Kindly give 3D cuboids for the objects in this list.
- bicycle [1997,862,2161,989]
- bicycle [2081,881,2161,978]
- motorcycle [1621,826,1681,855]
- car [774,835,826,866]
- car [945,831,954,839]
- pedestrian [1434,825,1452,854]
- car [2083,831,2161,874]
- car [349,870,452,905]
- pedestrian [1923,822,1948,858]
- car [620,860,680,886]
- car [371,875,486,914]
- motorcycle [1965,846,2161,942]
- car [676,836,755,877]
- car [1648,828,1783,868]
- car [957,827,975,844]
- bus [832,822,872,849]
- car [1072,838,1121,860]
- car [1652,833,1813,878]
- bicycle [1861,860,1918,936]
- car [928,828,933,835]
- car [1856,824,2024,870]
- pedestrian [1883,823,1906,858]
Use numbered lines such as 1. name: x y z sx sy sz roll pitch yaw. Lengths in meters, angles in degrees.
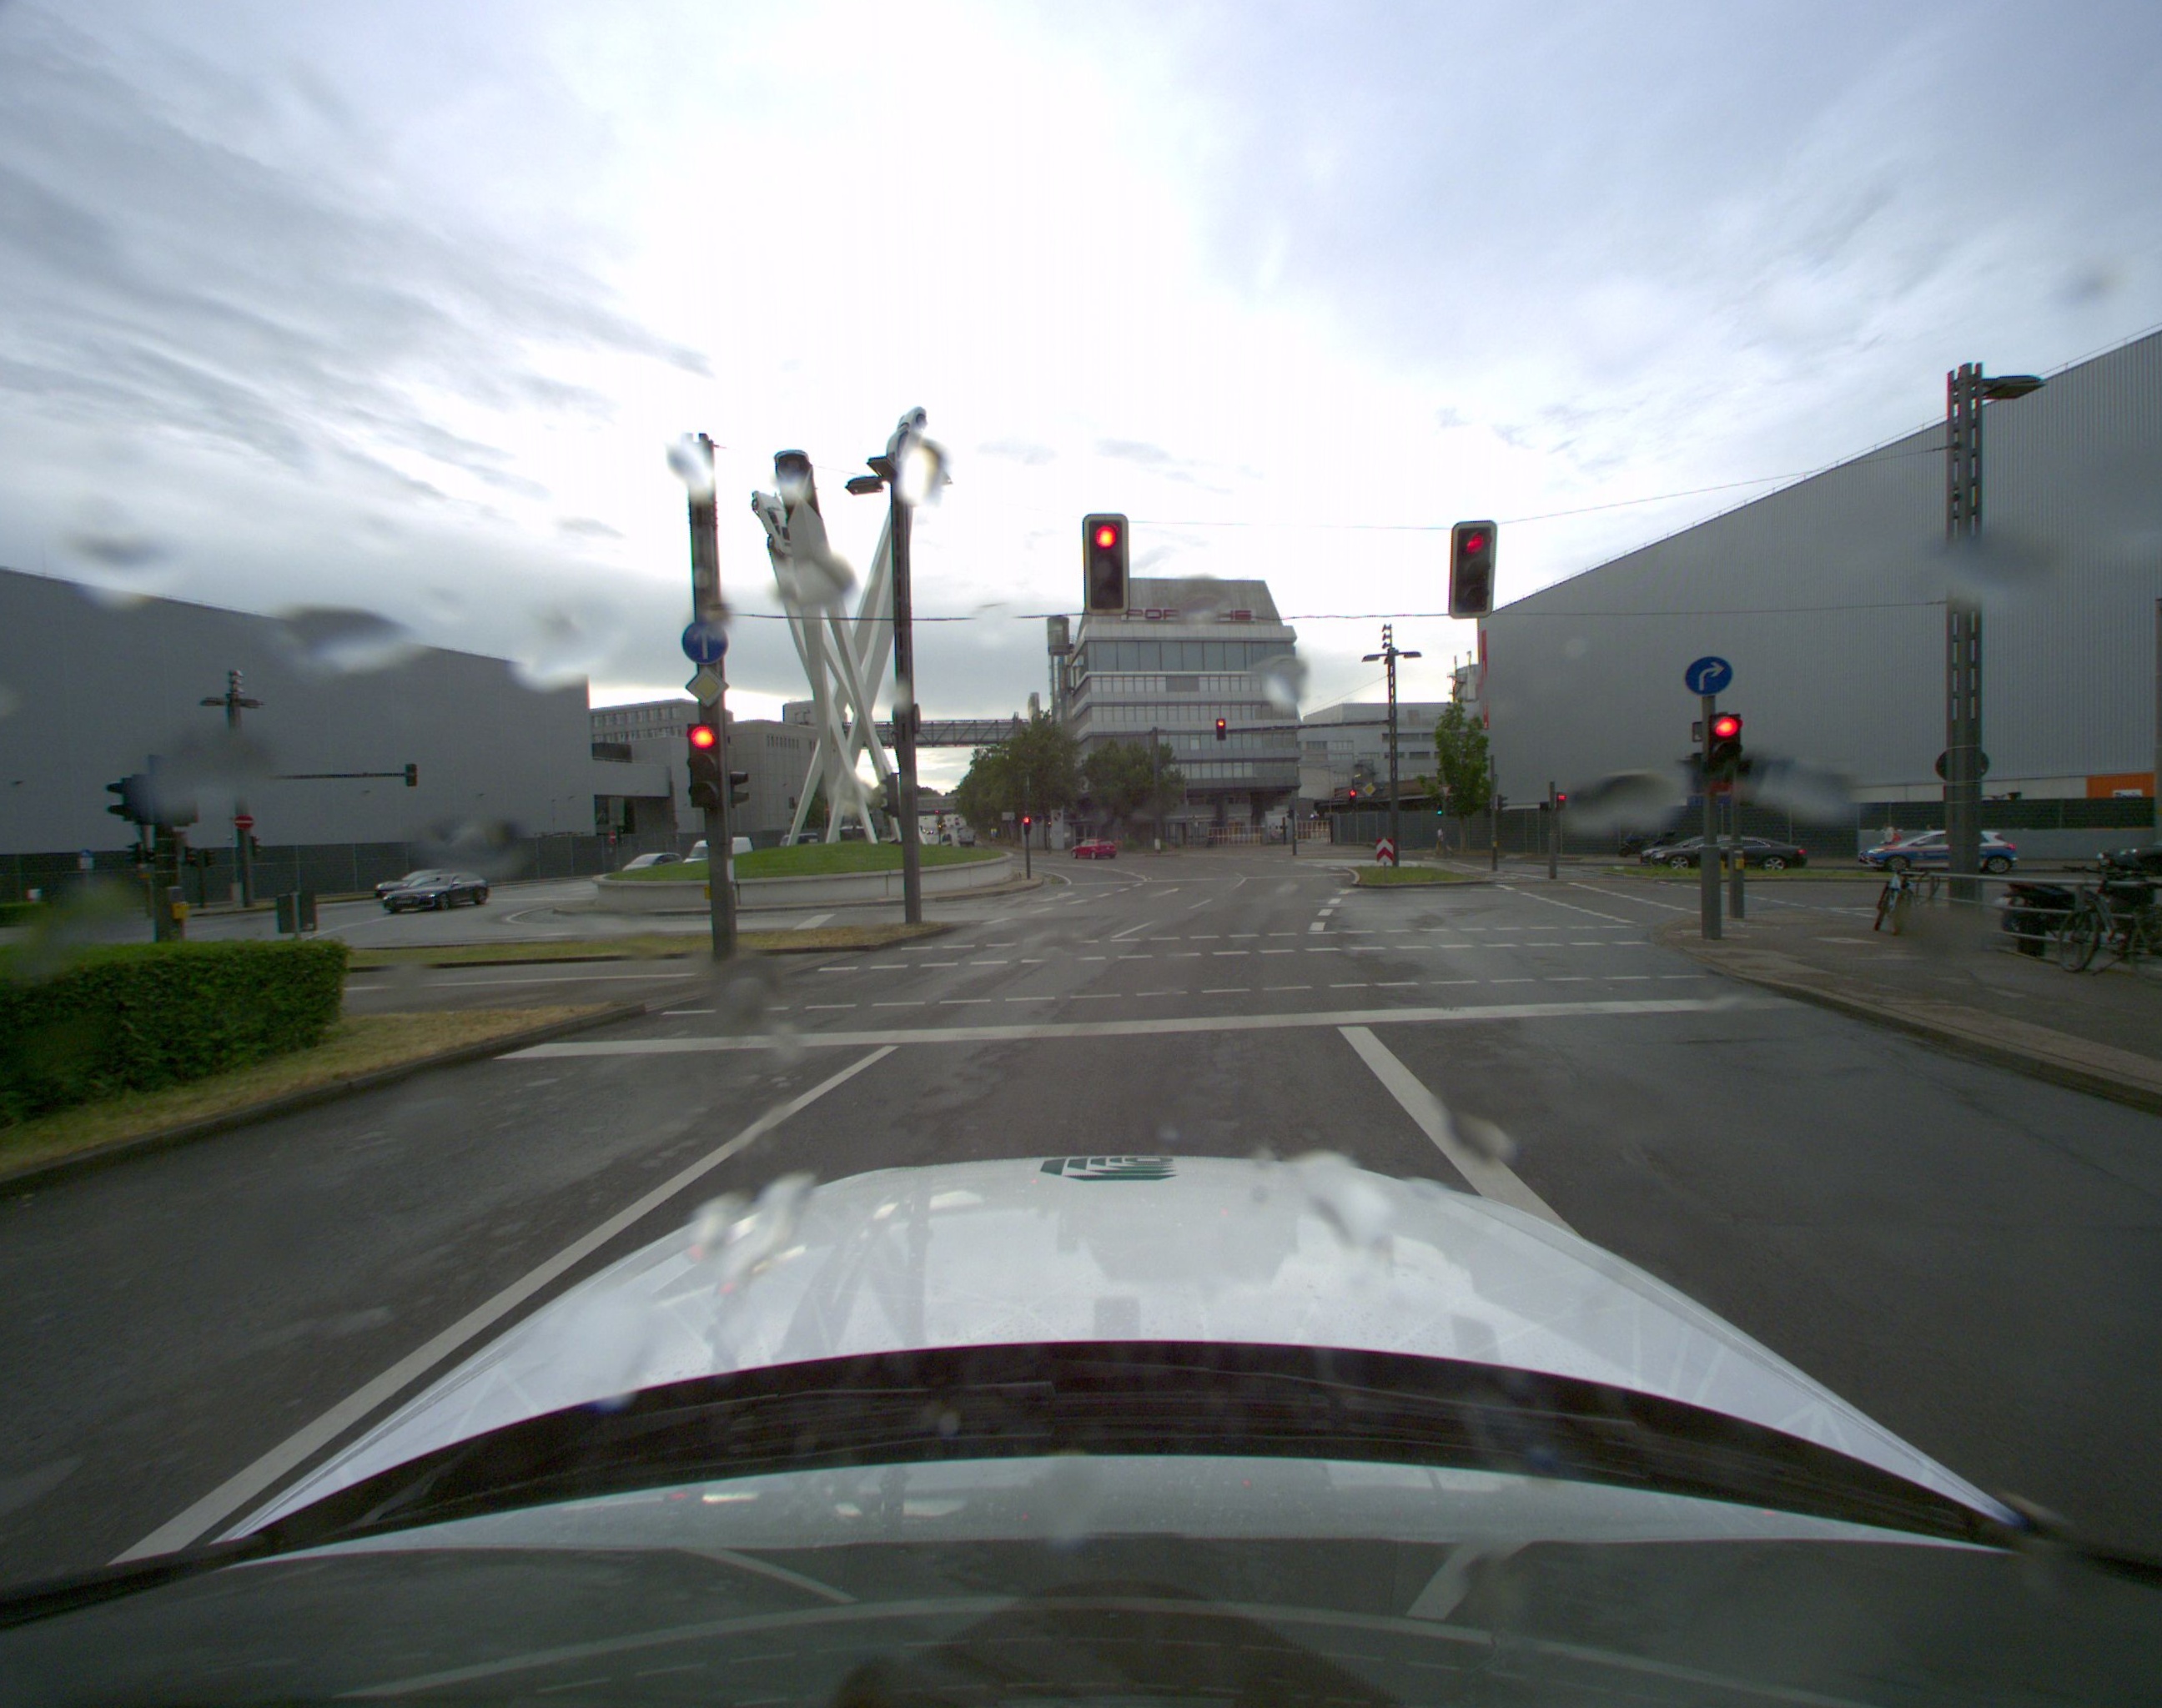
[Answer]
1. bicycle: 10.131 0.662 8.240 0.381 1.119 1.760 -2 0 22
2. bicycle: 10.686 0.737 7.747 0.527 0.905 1.821 -1 -1 16
3. motorcycle: 27.341 -0.649 39.094 2.329 1.344 0.657 -1 1 32
4. car: -27.325 -0.340 79.470 1.957 2.820 7.137 -2 0 4
5. car: -23.470 -3.305 145.247 1.557 1.288 3.401 -2 -1 -10
6. pedestrian: 20.178 -0.798 45.370 0.801 1.611 0.773 -2 -1 21
7. car: 36.445 -0.070 26.845 3.948 1.392 1.769 0 2 34
8. car: -32.686 1.560 39.298 1.834 1.472 4.495 -2 0 -12
9. pedestrian: 35.131 -0.574 33.492 0.642 1.481 0.442 -1 0 37
10. car: -27.483 1.196 52.083 1.829 1.494 3.995 -2 0 -3
11. car: -26.808 1.629 33.645 1.844 1.338 3.990 -2 0 -8
12. motorcycle: 15.749 0.628 12.952 2.212 1.452 0.759 -1 0 15
13. car: -23.264 0.131 52.158 1.983 2.447 5.437 -2 1 7
14. car: 25.824 -0.281 33.340 4.243 1.539 1.769 0 2 34
15. car: -16.010 -2.503 113.271 2.233 2.108 4.937 -2 -1 -10
16. bus: -29.681 -2.298 106.151 2.665 3.200 12.644 -1 0 -6
17. car: 1.099 -0.363 58.803 1.784 1.464 3.695 -1 -1 -31
18. car: 24.008 0.010 30.269 4.525 1.539 1.769 0 2 34
19. bicycle: 13.001 0.679 13.128 0.381 1.098 1.762 -2 0 37
20. car: -43.354 -6.540 234.621 1.628 1.816 3.719 -1 1 -10
21. car: 31.506 -0.275 30.057 3.930 1.601 1.924 0 1 34
22. pedestrian: 34.452 -0.560 34.490 0.606 1.481 0.426 -1 0 40
